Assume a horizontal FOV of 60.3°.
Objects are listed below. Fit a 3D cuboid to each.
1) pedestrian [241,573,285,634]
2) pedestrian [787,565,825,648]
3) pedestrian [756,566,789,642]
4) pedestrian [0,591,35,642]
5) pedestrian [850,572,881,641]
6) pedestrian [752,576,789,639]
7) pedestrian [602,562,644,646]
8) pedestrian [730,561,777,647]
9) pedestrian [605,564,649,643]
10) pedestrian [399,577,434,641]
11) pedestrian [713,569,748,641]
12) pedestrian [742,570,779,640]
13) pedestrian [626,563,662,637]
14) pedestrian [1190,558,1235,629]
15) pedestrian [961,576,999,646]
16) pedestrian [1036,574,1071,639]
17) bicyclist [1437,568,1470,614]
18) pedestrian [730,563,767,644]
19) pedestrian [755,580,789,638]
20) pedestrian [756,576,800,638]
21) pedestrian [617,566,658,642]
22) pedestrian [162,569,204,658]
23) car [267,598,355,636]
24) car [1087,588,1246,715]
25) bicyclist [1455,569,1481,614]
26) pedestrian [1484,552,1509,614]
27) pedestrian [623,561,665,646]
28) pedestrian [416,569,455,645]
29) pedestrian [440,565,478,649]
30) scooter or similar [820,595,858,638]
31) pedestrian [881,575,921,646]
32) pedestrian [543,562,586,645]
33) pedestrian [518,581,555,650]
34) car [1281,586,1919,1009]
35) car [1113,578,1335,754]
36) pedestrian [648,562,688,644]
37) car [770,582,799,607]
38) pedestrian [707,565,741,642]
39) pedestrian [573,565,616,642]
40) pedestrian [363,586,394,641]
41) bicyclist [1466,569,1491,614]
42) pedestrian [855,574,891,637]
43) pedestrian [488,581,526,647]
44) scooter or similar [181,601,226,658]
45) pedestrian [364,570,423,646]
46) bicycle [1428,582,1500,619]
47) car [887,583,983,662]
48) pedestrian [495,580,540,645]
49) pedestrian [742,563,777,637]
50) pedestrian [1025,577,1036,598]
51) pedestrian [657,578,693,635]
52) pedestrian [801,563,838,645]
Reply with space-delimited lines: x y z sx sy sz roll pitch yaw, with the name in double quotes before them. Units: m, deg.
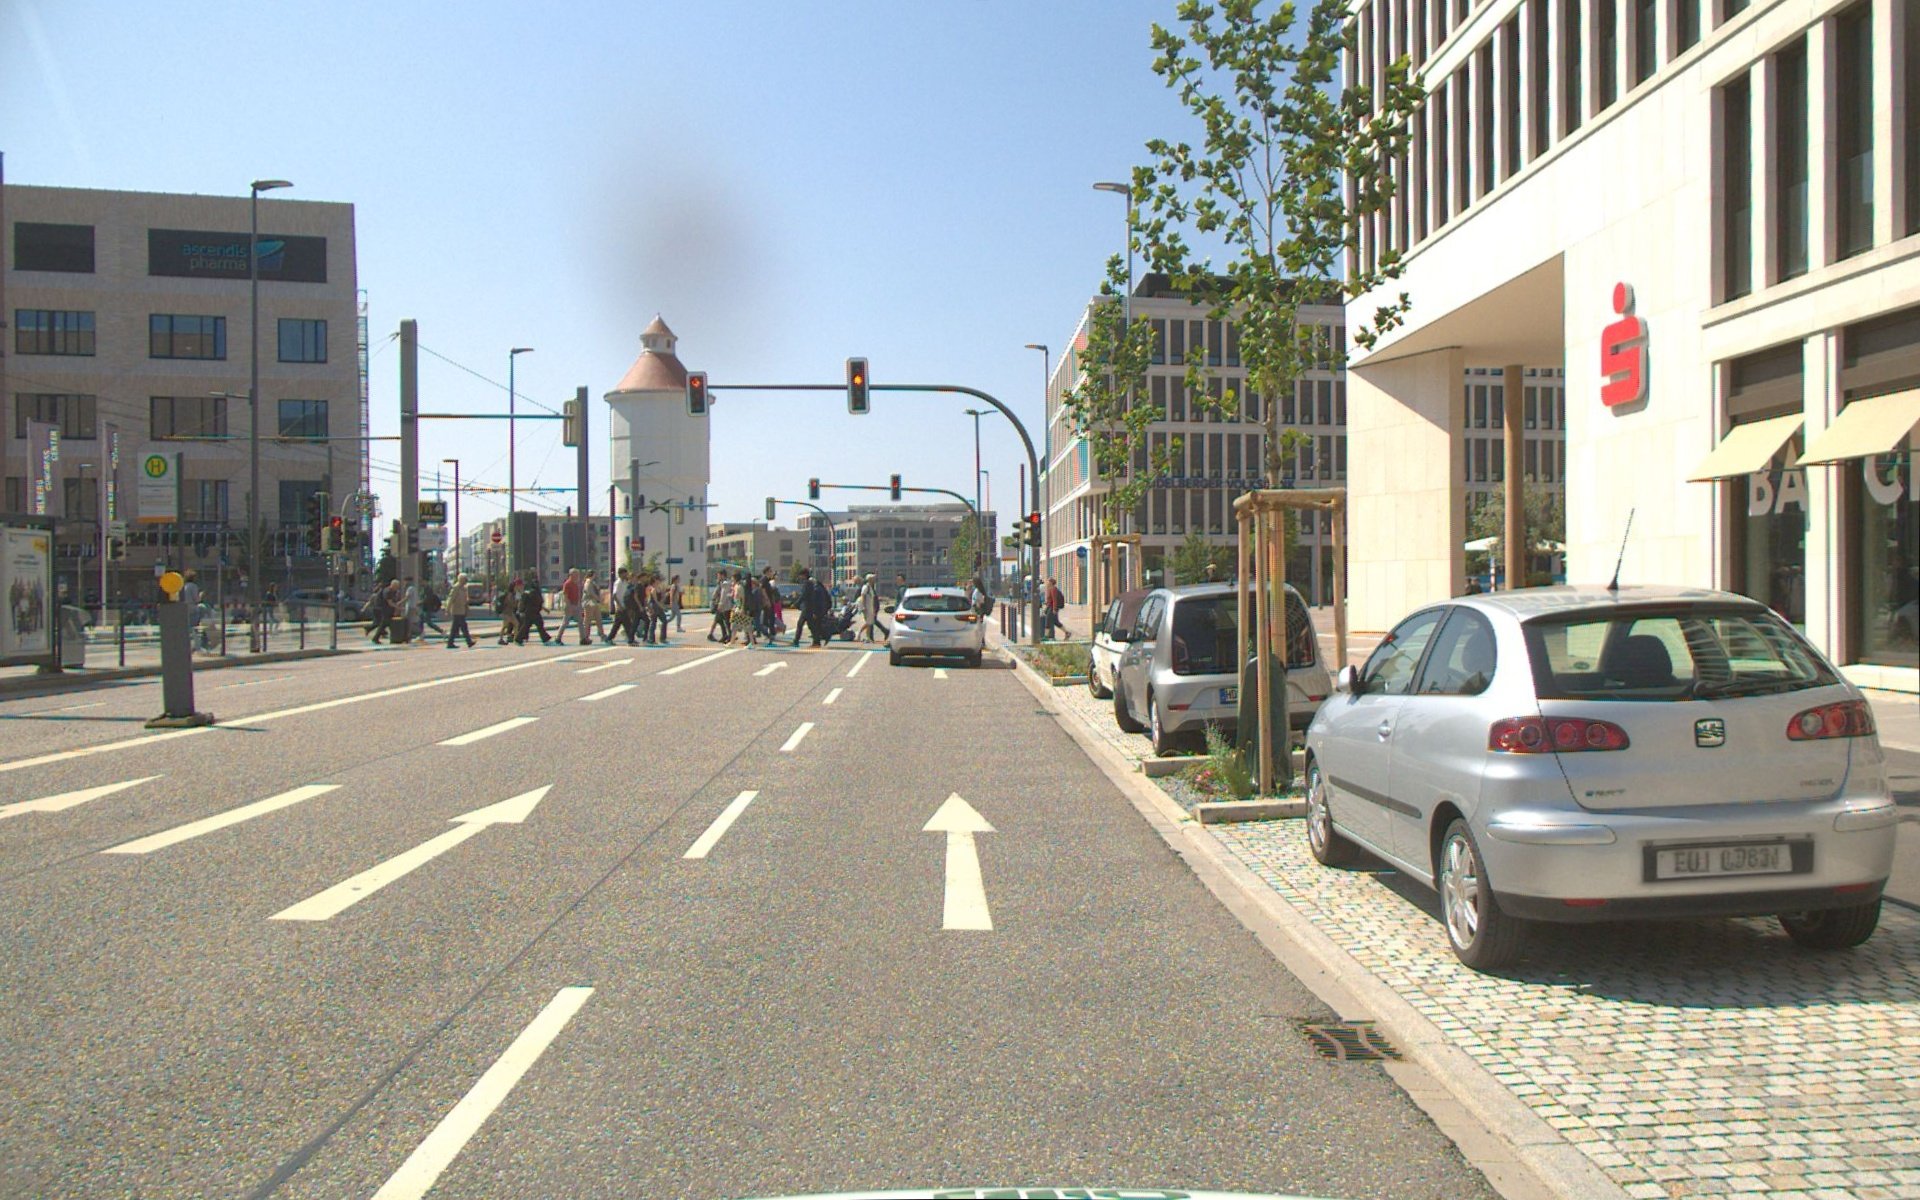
"pedestrian" -22.455 0.111 53.299 0.869 1.923 0.984 0 0 19
"pedestrian" -3.628 0.152 38.859 0.870 1.923 0.795 0 0 -6
"pedestrian" -4.813 0.090 42.452 0.750 1.923 0.692 0 0 0
"pedestrian" -30.121 0.508 52.784 0.696 1.599 0.890 0 0 -2
"pedestrian" -2.447 0.169 42.695 0.750 1.764 0.692 0 0 0
"pedestrian" -5.162 0.198 45.036 0.869 1.675 0.797 0 0 3
"pedestrian" -7.846 0.083 38.543 0.870 1.923 0.691 0 0 -6
"pedestrian" -4.657 0.085 37.335 0.993 1.923 0.798 0 0 -4
"pedestrian" -8.176 0.083 40.650 0.869 1.923 0.797 0 0 4
"pedestrian" -14.627 0.233 44.532 0.880 1.703 1.008 0 0 -19
"pedestrian" -5.671 0.127 40.841 0.750 1.764 0.692 0 0 0
"pedestrian" -4.862 0.113 40.378 0.777 1.675 0.891 0 0 1
"pedestrian" -8.324 0.008 43.610 0.719 1.923 0.714 1 0 4
"pedestrian" 6.069 -0.162 39.818 0.970 1.684 0.692 0 0 0
"pedestrian" 0.470 0.267 39.487 0.750 1.648 0.692 0 0 16
"pedestrian" 2.427 0.161 42.994 0.869 1.675 0.797 0 0 3
"bicyclist" 15.162 -0.271 50.827 0.605 1.384 0.898 0 0 -12
"pedestrian" -5.063 0.076 39.616 0.715 1.923 0.821 0 0 5
"pedestrian" -5.486 0.269 48.333 0.869 1.675 0.797 0 0 3
"pedestrian" -5.503 0.199 49.975 1.156 1.852 1.069 0 0 3
"pedestrian" -8.240 0.097 42.277 0.870 1.923 0.796 0 0 -1
"pedestrian" -14.721 0.250 31.342 0.494 1.650 0.650 0 0 -1
"car" -32.515 0.861 82.964 3.873 1.848 1.792 1 -1 -13
"car" 2.471 0.566 20.567 1.400 1.414 3.999 0 0 -1
"bicyclist" 15.641 -0.267 50.935 0.352 1.384 0.911 0 0 -12
"pedestrian" 17.808 -0.567 54.895 0.630 2.049 0.622 0 0 -1
"pedestrian" -7.222 0.084 37.812 0.870 1.923 0.691 0 0 -6
"pedestrian" -14.454 0.190 45.579 1.005 2.049 0.949 0 0 -19
"pedestrian" -11.711 0.161 38.701 0.623 1.923 0.796 0 0 0
"scooter or similar" -3.211 0.431 43.944 0.933 1.137 0.765 0 0 -11
"pedestrian" -1.388 0.240 38.830 0.870 1.663 0.691 0 0 -6
"pedestrian" -9.307 0.082 38.938 0.870 1.923 0.691 0 0 -6
"pedestrian" -10.152 0.371 39.668 0.620 1.646 0.768 0 0 5
"car" 2.710 0.678 7.729 1.572 1.412 3.814 -3 0 -1
"car" 2.434 0.552 15.957 1.524 1.498 3.469 0 0 -1
"pedestrian" -6.896 0.072 39.130 0.870 1.923 0.691 0 0 -6
"car" -11.187 -0.348 105.630 1.555 1.557 3.691 1 -1 -2
"pedestrian" -5.957 0.094 41.814 0.750 1.923 0.692 0 0 0
"pedestrian" -9.207 0.082 41.684 0.869 1.923 0.797 0 0 4
"pedestrian" -18.505 0.419 52.641 0.659 1.711 0.692 0 0 40
"bicyclist" 15.996 -0.270 51.018 0.352 1.384 0.899 0 0 -12
"pedestrian" -2.320 0.138 44.113 0.872 1.675 0.794 0 0 -11
"pedestrian" -11.172 0.340 40.826 0.713 1.603 0.642 0 0 4
"scooter or similar" -14.742 0.570 32.228 0.494 1.077 0.833 0 0 -1
"pedestrian" -14.848 0.199 43.374 1.145 1.923 1.060 0 2 0
"bicycle" 15.510 0.019 50.903 1.927 1.102 0.902 0 0 -13
"car" -0.436 0.445 32.274 1.735 1.419 3.532 1 -1 1
"pedestrian" -11.465 0.326 42.847 0.891 1.665 0.814 0 0 4
"pedestrian" -5.260 0.003 43.386 0.824 1.923 0.692 0 0 0
"pedestrian" 5.641 -0.980 132.101 0.778 1.675 0.890 0 0 -2
"pedestrian" -8.459 0.186 49.091 0.869 1.675 0.797 0 0 3
"pedestrian" -3.377 0.090 39.731 0.870 1.923 0.795 0 0 -6
